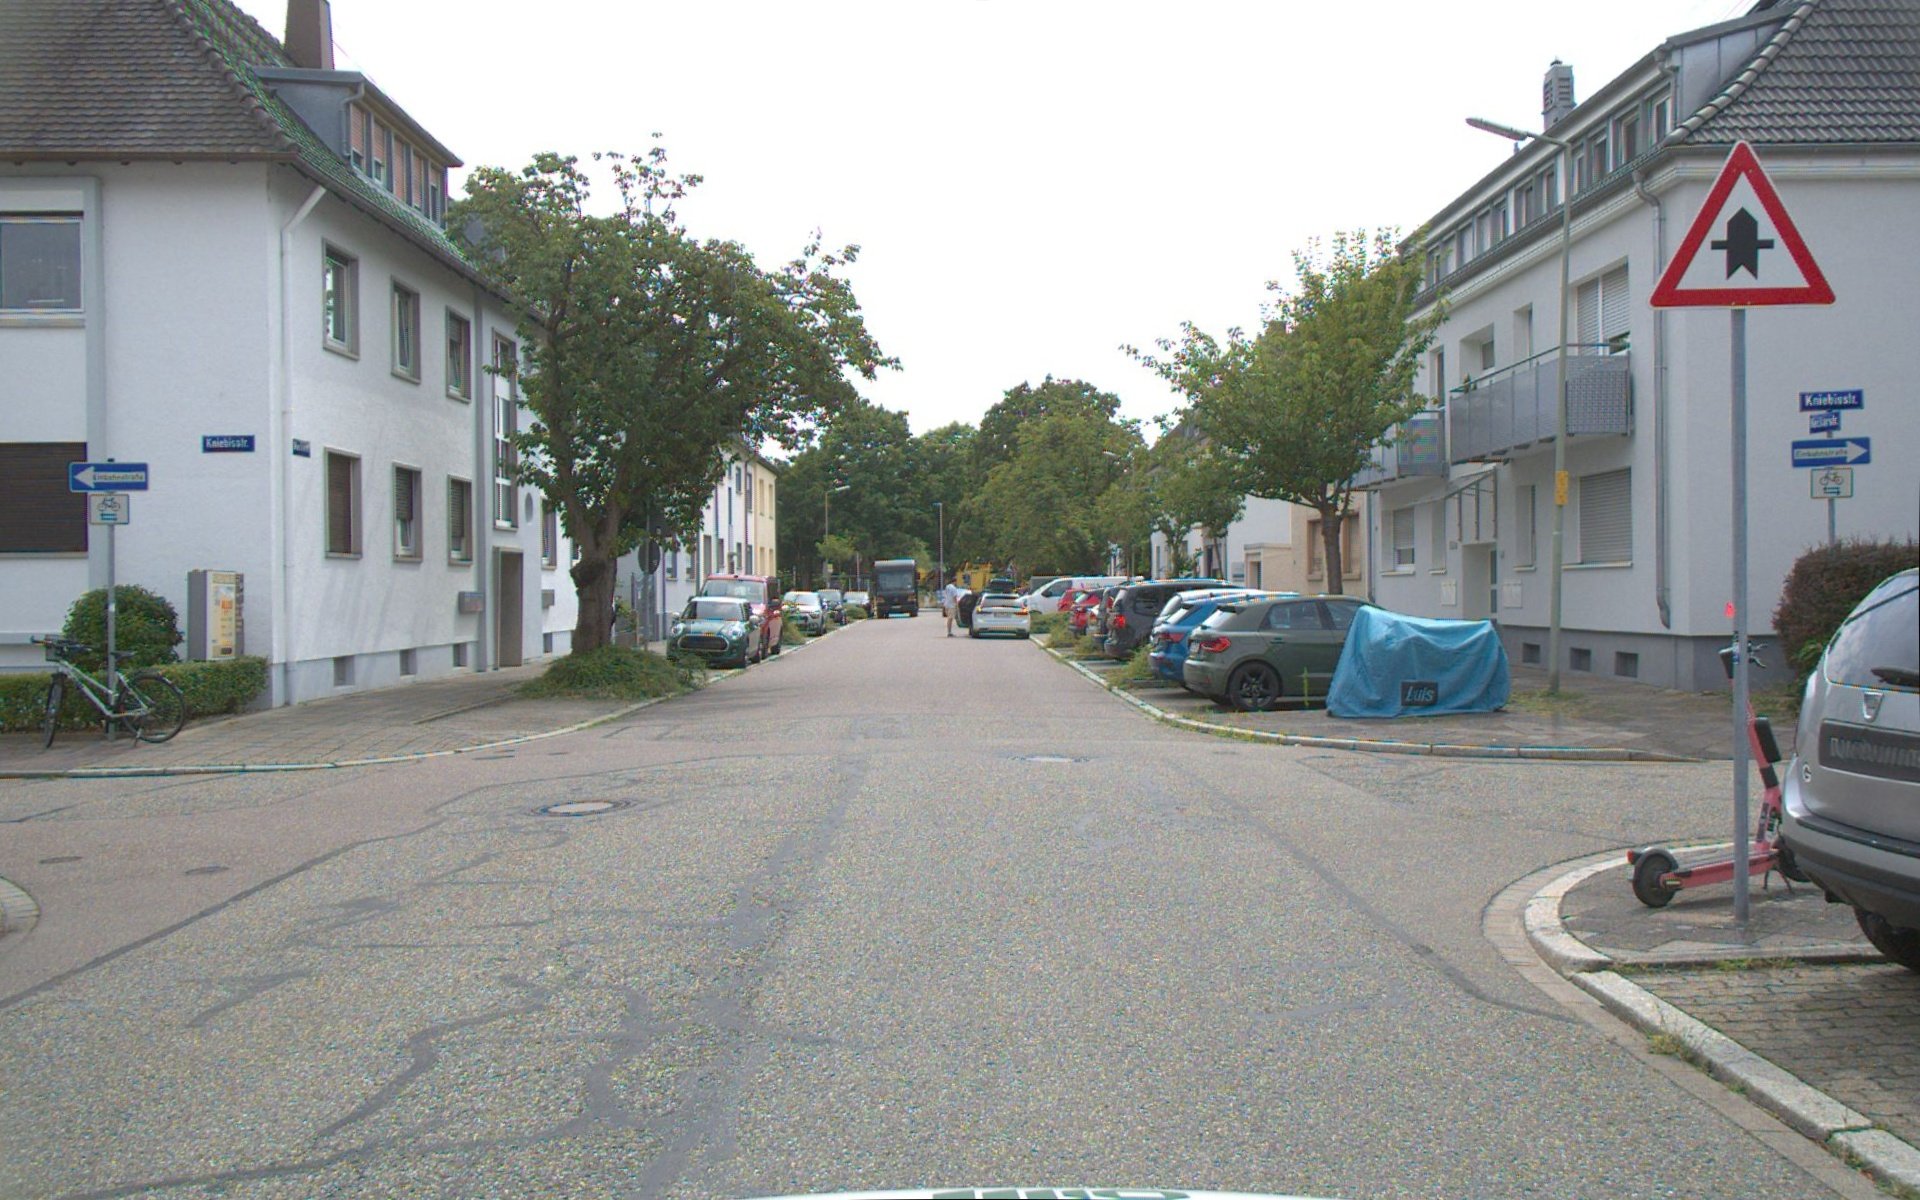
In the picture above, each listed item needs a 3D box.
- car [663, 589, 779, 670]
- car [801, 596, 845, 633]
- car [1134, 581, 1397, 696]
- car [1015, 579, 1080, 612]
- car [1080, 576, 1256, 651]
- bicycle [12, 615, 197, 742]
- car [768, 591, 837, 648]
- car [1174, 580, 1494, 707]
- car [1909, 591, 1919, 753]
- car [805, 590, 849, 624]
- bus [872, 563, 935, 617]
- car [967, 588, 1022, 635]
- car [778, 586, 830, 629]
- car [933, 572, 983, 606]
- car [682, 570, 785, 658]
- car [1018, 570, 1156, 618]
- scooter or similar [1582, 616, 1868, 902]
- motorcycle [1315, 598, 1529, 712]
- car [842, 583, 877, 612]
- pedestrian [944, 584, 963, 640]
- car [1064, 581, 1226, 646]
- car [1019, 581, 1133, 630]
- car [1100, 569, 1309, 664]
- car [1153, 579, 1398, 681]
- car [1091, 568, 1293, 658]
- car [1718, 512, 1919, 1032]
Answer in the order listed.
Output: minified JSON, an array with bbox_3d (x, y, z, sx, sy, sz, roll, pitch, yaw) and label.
[{"bbox_3d":[-5.127,0.600,35.886,1.726,1.581,3.732,-3,0,3],"label":"car"},{"bbox_3d":[-5.267,0.537,64.071,1.508,1.324,3.720,-3,0,-3],"label":"car"},{"bbox_3d":[4.327,0.526,23.785,3.446,1.437,1.558,-3,0,0],"label":"car"},{"bbox_3d":[4.834,-0.262,91.580,3.457,1.630,1.773,-3,0,0],"label":"car"},{"bbox_3d":[4.878,0.311,39.155,3.906,1.545,1.722,-3,0,-1],"label":"car"},{"bbox_3d":[-8.777,0.799,17.002,1.601,1.199,0.435,-3,0,-5],"label":"bicycle"},{"bbox_3d":[-4.460,0.534,47.215,1.618,1.487,3.552,-3,0,-1],"label":"car"},{"bbox_3d":[4.719,0.534,21.238,3.671,1.389,1.773,-3,0,0],"label":"car"},{"bbox_3d":[10.589,0.635,14.386,3.724,1.468,1.663,-1,0,0],"label":"car"},{"bbox_3d":[-5.795,0.286,72.573,1.618,1.401,3.721,-3,0,-1],"label":"car"},{"bbox_3d":[-3.028,-0.546,90.844,2.942,2.809,8.925,-1,0,1],"label":"bus"},{"bbox_3d":[1.105,0.355,53.174,1.652,1.377,3.827,-3,0,1],"label":"car"},{"bbox_3d":[-5.536,0.239,59.006,1.618,1.401,3.720,-3,0,-3],"label":"car"},{"bbox_3d":[-0.081,-0.591,86.437,1.951,1.646,4.004,-3,0,9],"label":"car"},{"bbox_3d":[-5.547,0.316,41.040,1.953,2.049,4.520,-1,0,-1],"label":"car"},{"bbox_3d":[4.693,-0.234,61.509,4.875,1.545,1.768,-3,0,-2],"label":"car"},{"bbox_3d":[3.698,0.739,8.004,1.217,1.265,0.421,-3,0,-13],"label":"scooter or similar"},{"bbox_3d":[5.211,0.602,18.737,2.149,1.232,0.939,-1,0,-2],"label":"motorcycle"},{"bbox_3d":[-5.580,-0.147,91.890,1.588,1.528,4.000,-3,0,1],"label":"car"},{"bbox_3d":[-0.208,0.375,52.466,0.511,1.734,0.445,-2,0,3],"label":"pedestrian"},{"bbox_3d":[4.713,0.336,42.504,3.906,1.463,1.722,-3,0,-1],"label":"car"},{"bbox_3d":[4.130,0.196,59.157,3.906,1.545,1.722,-3,0,-1],"label":"car"},{"bbox_3d":[4.594,0.294,31.419,3.671,1.591,1.773,-3,0,0],"label":"car"},{"bbox_3d":[5.454,0.501,28.933,3.906,1.545,1.722,-3,0,-1],"label":"car"},{"bbox_3d":[4.785,0.255,34.501,3.905,1.646,1.867,-3,0,0],"label":"car"},{"bbox_3d":[4.952,0.459,5.628,3.844,1.661,1.867,-3,0,-1],"label":"car"}]
